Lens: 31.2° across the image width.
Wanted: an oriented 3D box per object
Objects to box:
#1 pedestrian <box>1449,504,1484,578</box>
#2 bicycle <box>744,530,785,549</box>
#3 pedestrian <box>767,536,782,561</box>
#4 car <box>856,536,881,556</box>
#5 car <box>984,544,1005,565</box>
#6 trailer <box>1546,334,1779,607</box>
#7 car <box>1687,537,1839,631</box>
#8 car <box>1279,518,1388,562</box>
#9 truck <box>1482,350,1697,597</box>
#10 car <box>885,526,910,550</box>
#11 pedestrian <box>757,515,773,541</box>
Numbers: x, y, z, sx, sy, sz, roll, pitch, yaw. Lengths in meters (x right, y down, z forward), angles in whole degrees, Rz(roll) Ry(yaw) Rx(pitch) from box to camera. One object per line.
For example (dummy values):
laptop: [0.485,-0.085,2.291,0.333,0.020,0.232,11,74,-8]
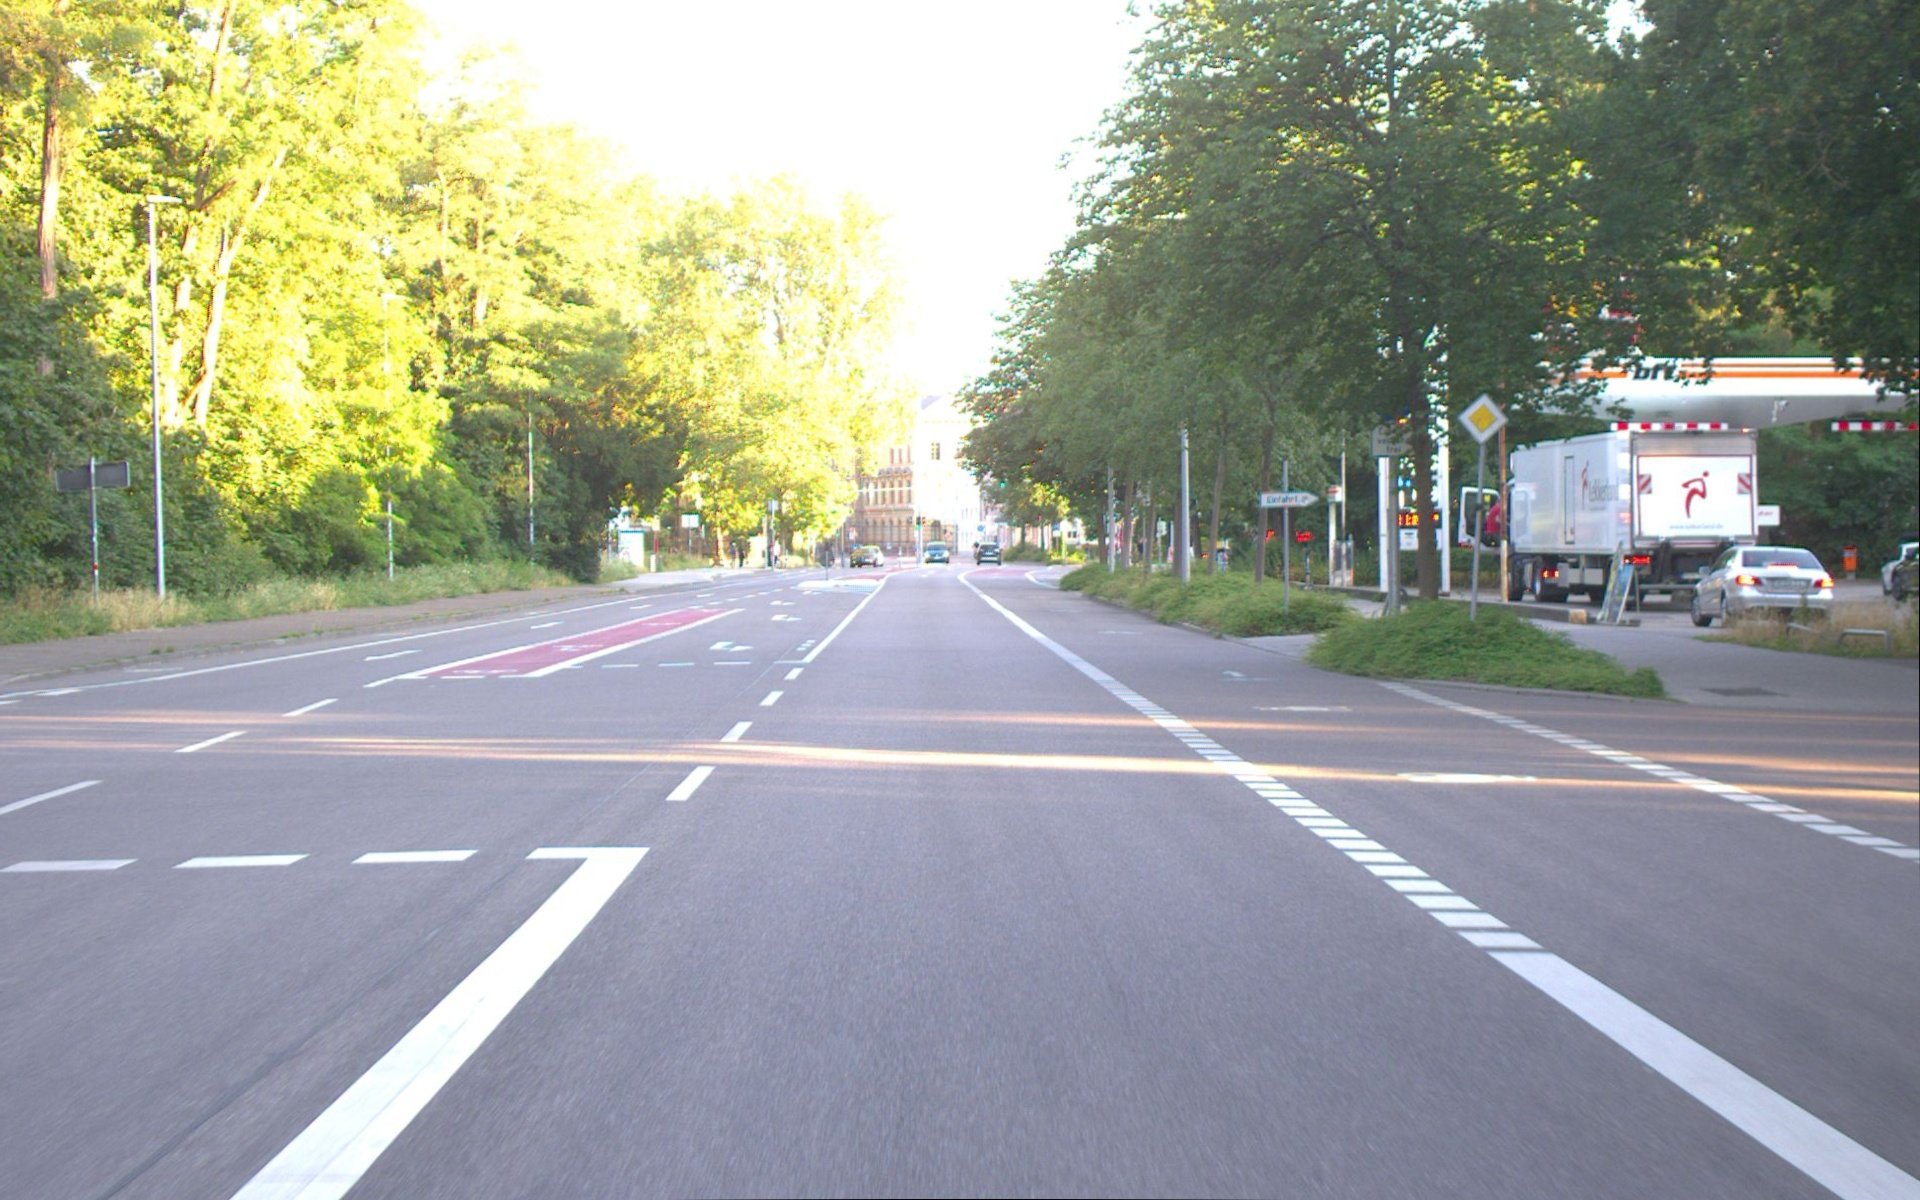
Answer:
pedestrian: [12.497,-1.455,84.783,0.757,1.791,0.706,1,1,3]
bicycle: [-12.027,-3.717,211.530,2.463,1.191,0.757,0,1,10]
pedestrian: [-11.824,-3.304,218.674,0.791,1.575,0.745,1,1,9]
car: [-5.942,-3.530,223.636,1.493,1.287,3.491,0,1,0]
car: [2.452,-3.242,243.967,1.493,1.481,3.491,0,1,0]
trailer: [14.959,-2.724,73.841,3.020,5.443,7.935,2,1,-2]
car: [14.241,-0.316,61.200,1.770,1.578,4.819,1,1,3]
car: [17.103,-2.747,157.183,4.912,1.983,1.921,0,1,7]
truck: [14.705,-2.911,80.995,3.033,5.437,8.411,2,1,-2]
car: [-3.845,-3.843,212.126,1.493,1.481,3.491,0,1,0]
pedestrian: [-11.987,-4.449,211.529,0.791,1.575,0.745,1,1,9]
